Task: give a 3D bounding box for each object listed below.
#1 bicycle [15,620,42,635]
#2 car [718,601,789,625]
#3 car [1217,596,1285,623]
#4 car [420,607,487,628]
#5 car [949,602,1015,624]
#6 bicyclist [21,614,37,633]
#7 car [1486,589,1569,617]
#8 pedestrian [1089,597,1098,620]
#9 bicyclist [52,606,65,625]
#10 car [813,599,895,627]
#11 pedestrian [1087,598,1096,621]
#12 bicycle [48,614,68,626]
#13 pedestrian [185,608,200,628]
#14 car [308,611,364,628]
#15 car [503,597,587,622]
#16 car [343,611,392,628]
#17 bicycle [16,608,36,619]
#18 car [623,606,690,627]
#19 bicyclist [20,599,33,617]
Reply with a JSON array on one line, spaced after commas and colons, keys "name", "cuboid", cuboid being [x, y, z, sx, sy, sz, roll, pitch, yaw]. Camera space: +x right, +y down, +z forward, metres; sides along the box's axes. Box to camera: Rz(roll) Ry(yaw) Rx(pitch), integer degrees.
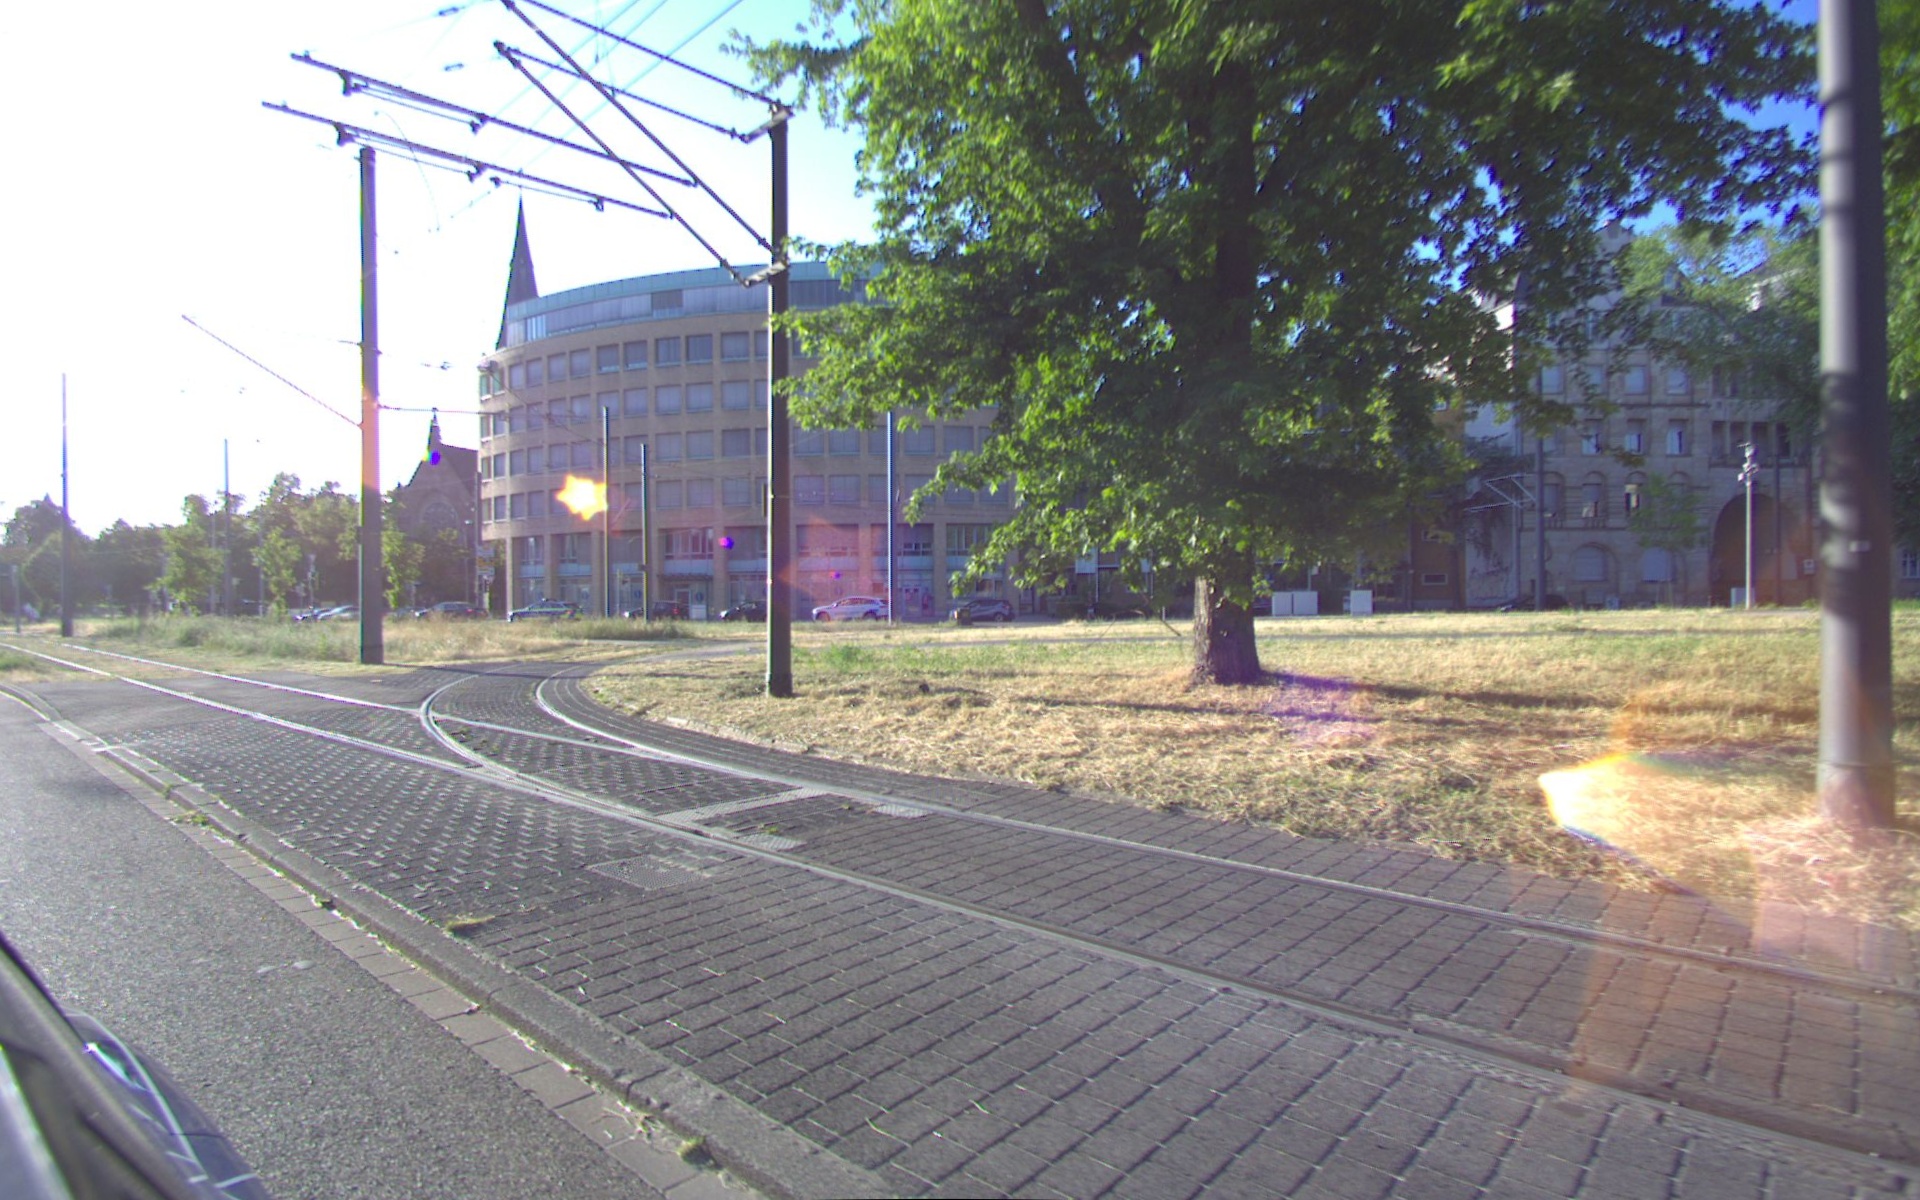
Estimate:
[{"name": "bicycle", "cuboid": [-79.869, 2.361, 86.776, 1.892, 1.155, 0.460, -1, 1, 0]}, {"name": "car", "cuboid": [-11.874, 0.747, 58.201, 3.706, 1.291, 1.643, -1, 0, 16]}, {"name": "car", "cuboid": [16.244, 0.537, 56.651, 3.484, 1.364, 1.549, -2, 1, 12]}, {"name": "car", "cuboid": [-32.620, 1.103, 65.181, 3.758, 1.292, 1.720, -1, 0, 19]}, {"name": "car", "cuboid": [1.335, 0.778, 61.176, 3.696, 1.268, 1.562, -1, 0, 17]}, {"name": "bicyclist", "cuboid": [-79.830, 2.026, 86.804, 0.809, 1.595, 0.521, -1, 1, 1]}, {"name": "car", "cuboid": [30.347, 0.155, 54.187, 3.481, 1.364, 1.550, -2, 1, 9]}, {"name": "pedestrian", "cuboid": [8.451, 0.555, 64.171, 0.481, 1.441, 0.412, -1, 0, 18]}, {"name": "bicyclist", "cuboid": [-85.217, 1.455, 95.669, 0.887, 1.693, 0.572, -1, 1, 18]}, {"name": "car", "cuboid": [-5.916, 0.717, 56.693, 4.266, 1.493, 1.769, -1, 0, 13]}, {"name": "pedestrian", "cuboid": [8.257, 0.574, 63.454, 0.481, 1.441, 0.412, -1, 0, 18]}, {"name": "bicycle", "cuboid": [-85.286, 1.888, 95.688, 1.915, 1.034, 0.457, -1, 1, 19]}, {"name": "pedestrian", "cuboid": [-67.078, 1.565, 88.445, 0.712, 1.685, 0.733, -1, 0, 21]}, {"name": "car", "cuboid": [-55.624, 1.705, 90.286, 1.889, 1.431, 3.971, -1, 0, 22]}, {"name": "car", "cuboid": [-25.708, 0.580, 62.740, 4.741, 1.491, 1.884, -1, 0, 17]}, {"name": "car", "cuboid": [-58.501, 1.876, 99.981, 1.810, 1.597, 3.977, -1, 0, 18]}, {"name": "bicycle", "cuboid": [-93.091, 1.339, 100.869, 1.914, 1.034, 0.522, -1, 3, 18]}, {"name": "car", "cuboid": [-18.100, 0.983, 60.352, 3.567, 1.162, 1.517, -1, 0, 17]}, {"name": "bicyclist", "cuboid": [-93.011, 0.793, 100.848, 0.887, 1.841, 0.572, -1, 1, 18]}]
